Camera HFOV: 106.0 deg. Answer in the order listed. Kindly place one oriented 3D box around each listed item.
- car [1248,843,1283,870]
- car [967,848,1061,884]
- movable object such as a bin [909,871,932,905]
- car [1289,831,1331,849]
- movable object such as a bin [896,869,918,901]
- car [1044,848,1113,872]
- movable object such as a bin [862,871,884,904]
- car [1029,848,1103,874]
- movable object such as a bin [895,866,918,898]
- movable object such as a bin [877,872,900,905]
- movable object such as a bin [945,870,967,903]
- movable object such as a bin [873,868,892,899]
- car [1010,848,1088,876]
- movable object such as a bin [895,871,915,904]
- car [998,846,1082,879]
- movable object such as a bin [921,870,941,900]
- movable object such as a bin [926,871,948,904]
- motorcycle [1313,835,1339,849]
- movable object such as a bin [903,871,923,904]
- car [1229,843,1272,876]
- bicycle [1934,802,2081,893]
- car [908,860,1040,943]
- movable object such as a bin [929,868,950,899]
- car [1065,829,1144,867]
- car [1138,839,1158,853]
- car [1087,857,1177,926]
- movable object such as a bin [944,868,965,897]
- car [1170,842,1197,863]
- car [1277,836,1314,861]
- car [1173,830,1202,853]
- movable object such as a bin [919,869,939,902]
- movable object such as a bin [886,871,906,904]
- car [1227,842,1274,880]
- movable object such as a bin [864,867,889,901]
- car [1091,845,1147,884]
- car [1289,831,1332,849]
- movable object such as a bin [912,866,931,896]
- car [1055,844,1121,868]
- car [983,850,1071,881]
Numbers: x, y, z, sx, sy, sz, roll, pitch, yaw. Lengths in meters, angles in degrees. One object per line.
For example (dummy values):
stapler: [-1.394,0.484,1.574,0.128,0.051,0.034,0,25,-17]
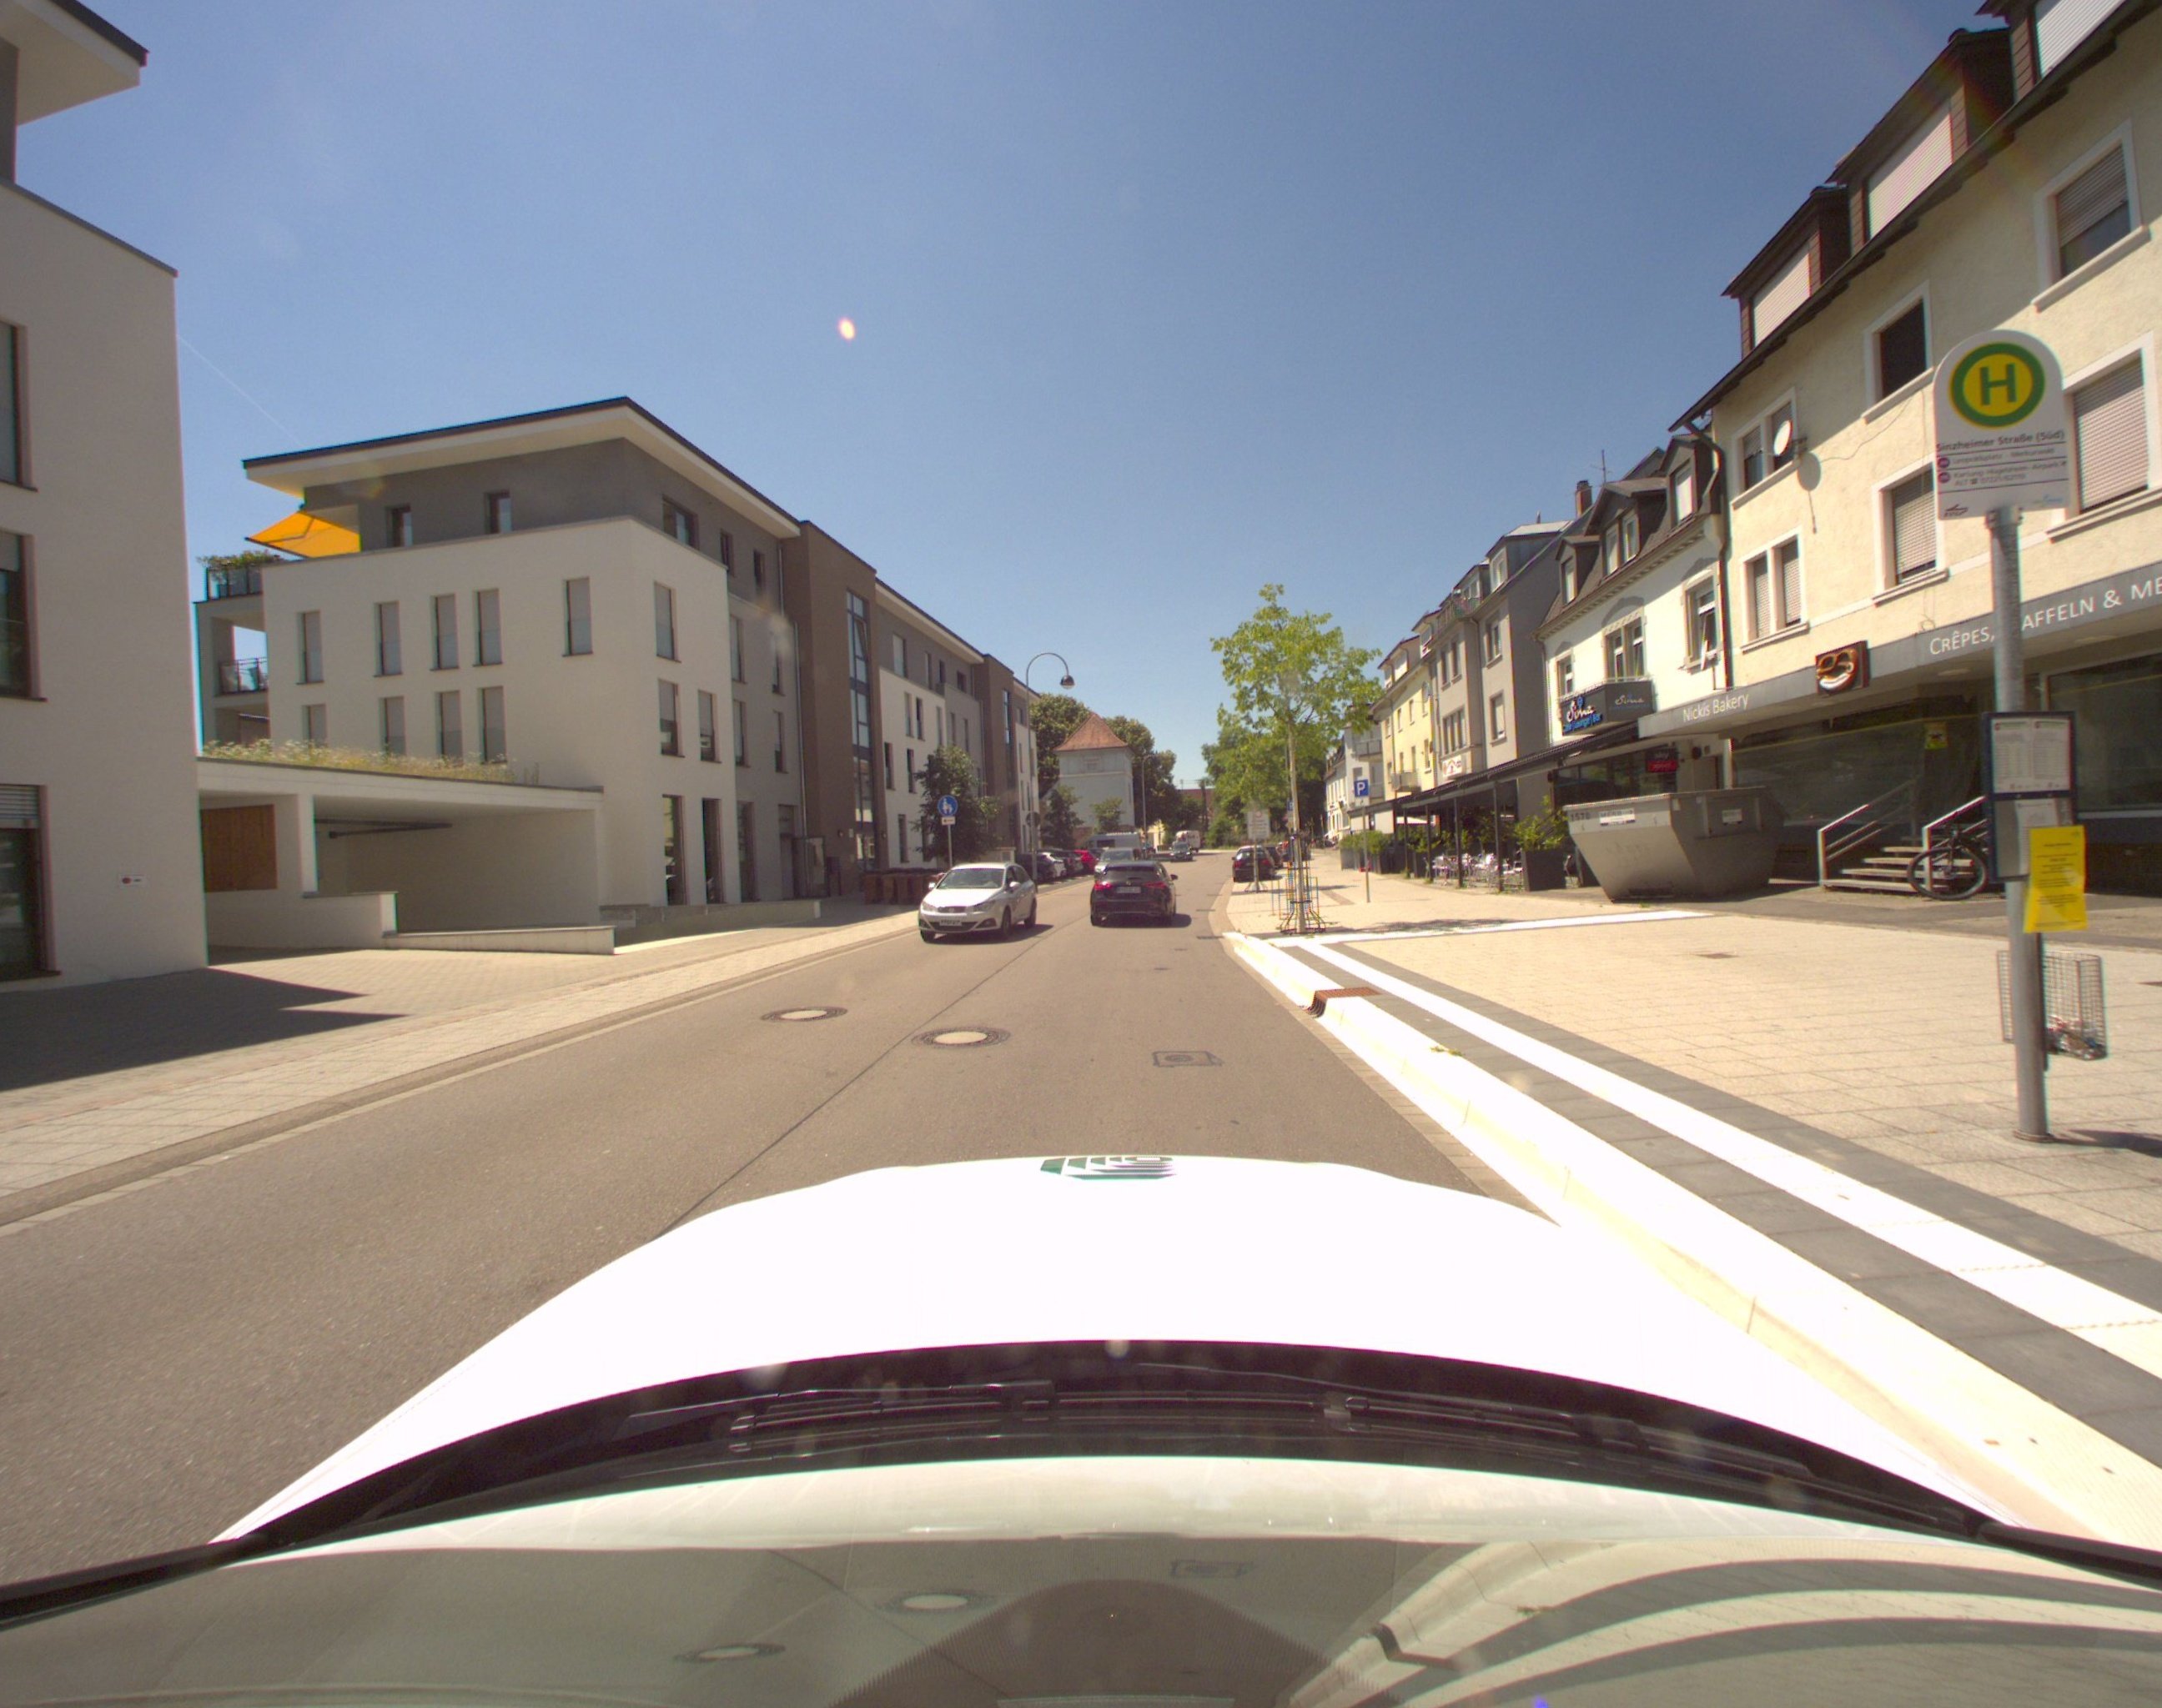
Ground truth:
car: [11.025,0.094,48.465,1.711,1.405,4.628,-4,0,15]
car: [-3.129,0.563,38.530,3.961,1.515,2.007,-1,2,11]
movable object such as a bin: [-5.038,1.058,25.568,0.480,0.998,0.589,-2,0,10]
car: [24.287,-1.470,86.524,4.050,1.716,1.861,-1,0,9]
movable object such as a bin: [-5.915,1.033,27.726,0.619,1.039,0.581,-2,0,-6]
car: [-0.130,0.384,52.962,4.177,1.437,1.890,-1,0,7]
movable object such as a bin: [-6.674,1.074,26.130,0.481,0.998,0.588,-2,0,4]
car: [-0.873,0.430,48.717,4.004,1.430,2.007,-1,0,13]
movable object such as a bin: [-6.102,0.973,28.456,0.674,1.039,0.603,-2,0,-6]
movable object such as a bin: [-6.079,1.078,25.729,0.480,0.998,0.527,-2,0,7]
movable object such as a bin: [-3.999,1.042,26.053,0.480,0.998,0.589,-2,0,10]
movable object such as a bin: [-6.954,1.012,28.499,0.553,1.039,0.481,-2,0,-6]
car: [-1.793,0.441,46.181,4.004,1.496,2.007,-1,0,13]
movable object such as a bin: [-5.557,1.067,25.723,0.422,0.998,0.525,-2,0,11]
car: [-2.135,0.433,43.374,4.004,1.651,2.007,-1,0,13]
movable object such as a bin: [-5.069,1.047,27.602,0.552,0.998,0.404,-3,0,-3]
movable object such as a bin: [-4.499,1.049,25.490,0.480,0.998,0.589,-2,0,7]
motorcycle: [24.149,-1.148,80.384,2.362,1.275,0.858,-2,1,10]
movable object such as a bin: [-5.406,1.075,26.265,0.400,0.998,0.557,-2,0,10]
car: [8.807,0.241,42.147,1.724,1.486,4.072,-5,-1,17]
bicycle: [12.542,-0.076,11.058,1.259,1.184,0.417,-1,-1,19]
car: [-2.031,0.874,16.573,1.658,1.396,3.856,-2,0,8]
movable object such as a bin: [-4.931,1.020,28.350,0.551,1.020,0.561,-2,0,6]
car: [1.843,-0.459,62.986,5.729,2.732,2.299,-1,0,12]
car: [8.576,-1.090,104.746,1.890,1.553,4.793,-3,2,-4]
car: [1.301,0.812,19.154,1.817,1.442,4.009,-1,0,8]
movable object such as a bin: [-4.472,1.005,28.846,0.550,0.998,0.429,-2,0,12]
car: [8.786,-0.170,69.505,1.797,1.701,4.092,-2,0,14]
car: [15.585,-0.417,58.974,1.855,1.491,3.885,-4,1,25]
car: [12.912,-1.475,99.017,2.125,2.629,5.265,-2,0,-7]
movable object such as a bin: [-4.861,1.005,26.096,0.400,0.998,0.557,-2,0,10]
movable object such as a bin: [-5.988,1.080,26.312,0.400,0.998,0.557,-2,0,10]
car: [7.565,0.295,36.217,1.820,1.482,4.110,-5,-1,12]
movable object such as a bin: [-6.937,0.999,27.593,0.691,1.095,0.646,-2,0,-6]
car: [1.799,0.438,37.531,1.930,1.658,4.248,-2,0,11]
car: [23.714,-1.424,84.241,4.050,1.716,1.861,-1,0,9]
movable object such as a bin: [-5.706,0.960,29.143,0.575,1.039,0.549,-2,0,-6]
car: [0.512,0.167,58.361,4.425,1.591,2.006,-1,0,11]
car: [-2.681,0.575,40.905,3.961,1.421,1.916,-1,0,11]
